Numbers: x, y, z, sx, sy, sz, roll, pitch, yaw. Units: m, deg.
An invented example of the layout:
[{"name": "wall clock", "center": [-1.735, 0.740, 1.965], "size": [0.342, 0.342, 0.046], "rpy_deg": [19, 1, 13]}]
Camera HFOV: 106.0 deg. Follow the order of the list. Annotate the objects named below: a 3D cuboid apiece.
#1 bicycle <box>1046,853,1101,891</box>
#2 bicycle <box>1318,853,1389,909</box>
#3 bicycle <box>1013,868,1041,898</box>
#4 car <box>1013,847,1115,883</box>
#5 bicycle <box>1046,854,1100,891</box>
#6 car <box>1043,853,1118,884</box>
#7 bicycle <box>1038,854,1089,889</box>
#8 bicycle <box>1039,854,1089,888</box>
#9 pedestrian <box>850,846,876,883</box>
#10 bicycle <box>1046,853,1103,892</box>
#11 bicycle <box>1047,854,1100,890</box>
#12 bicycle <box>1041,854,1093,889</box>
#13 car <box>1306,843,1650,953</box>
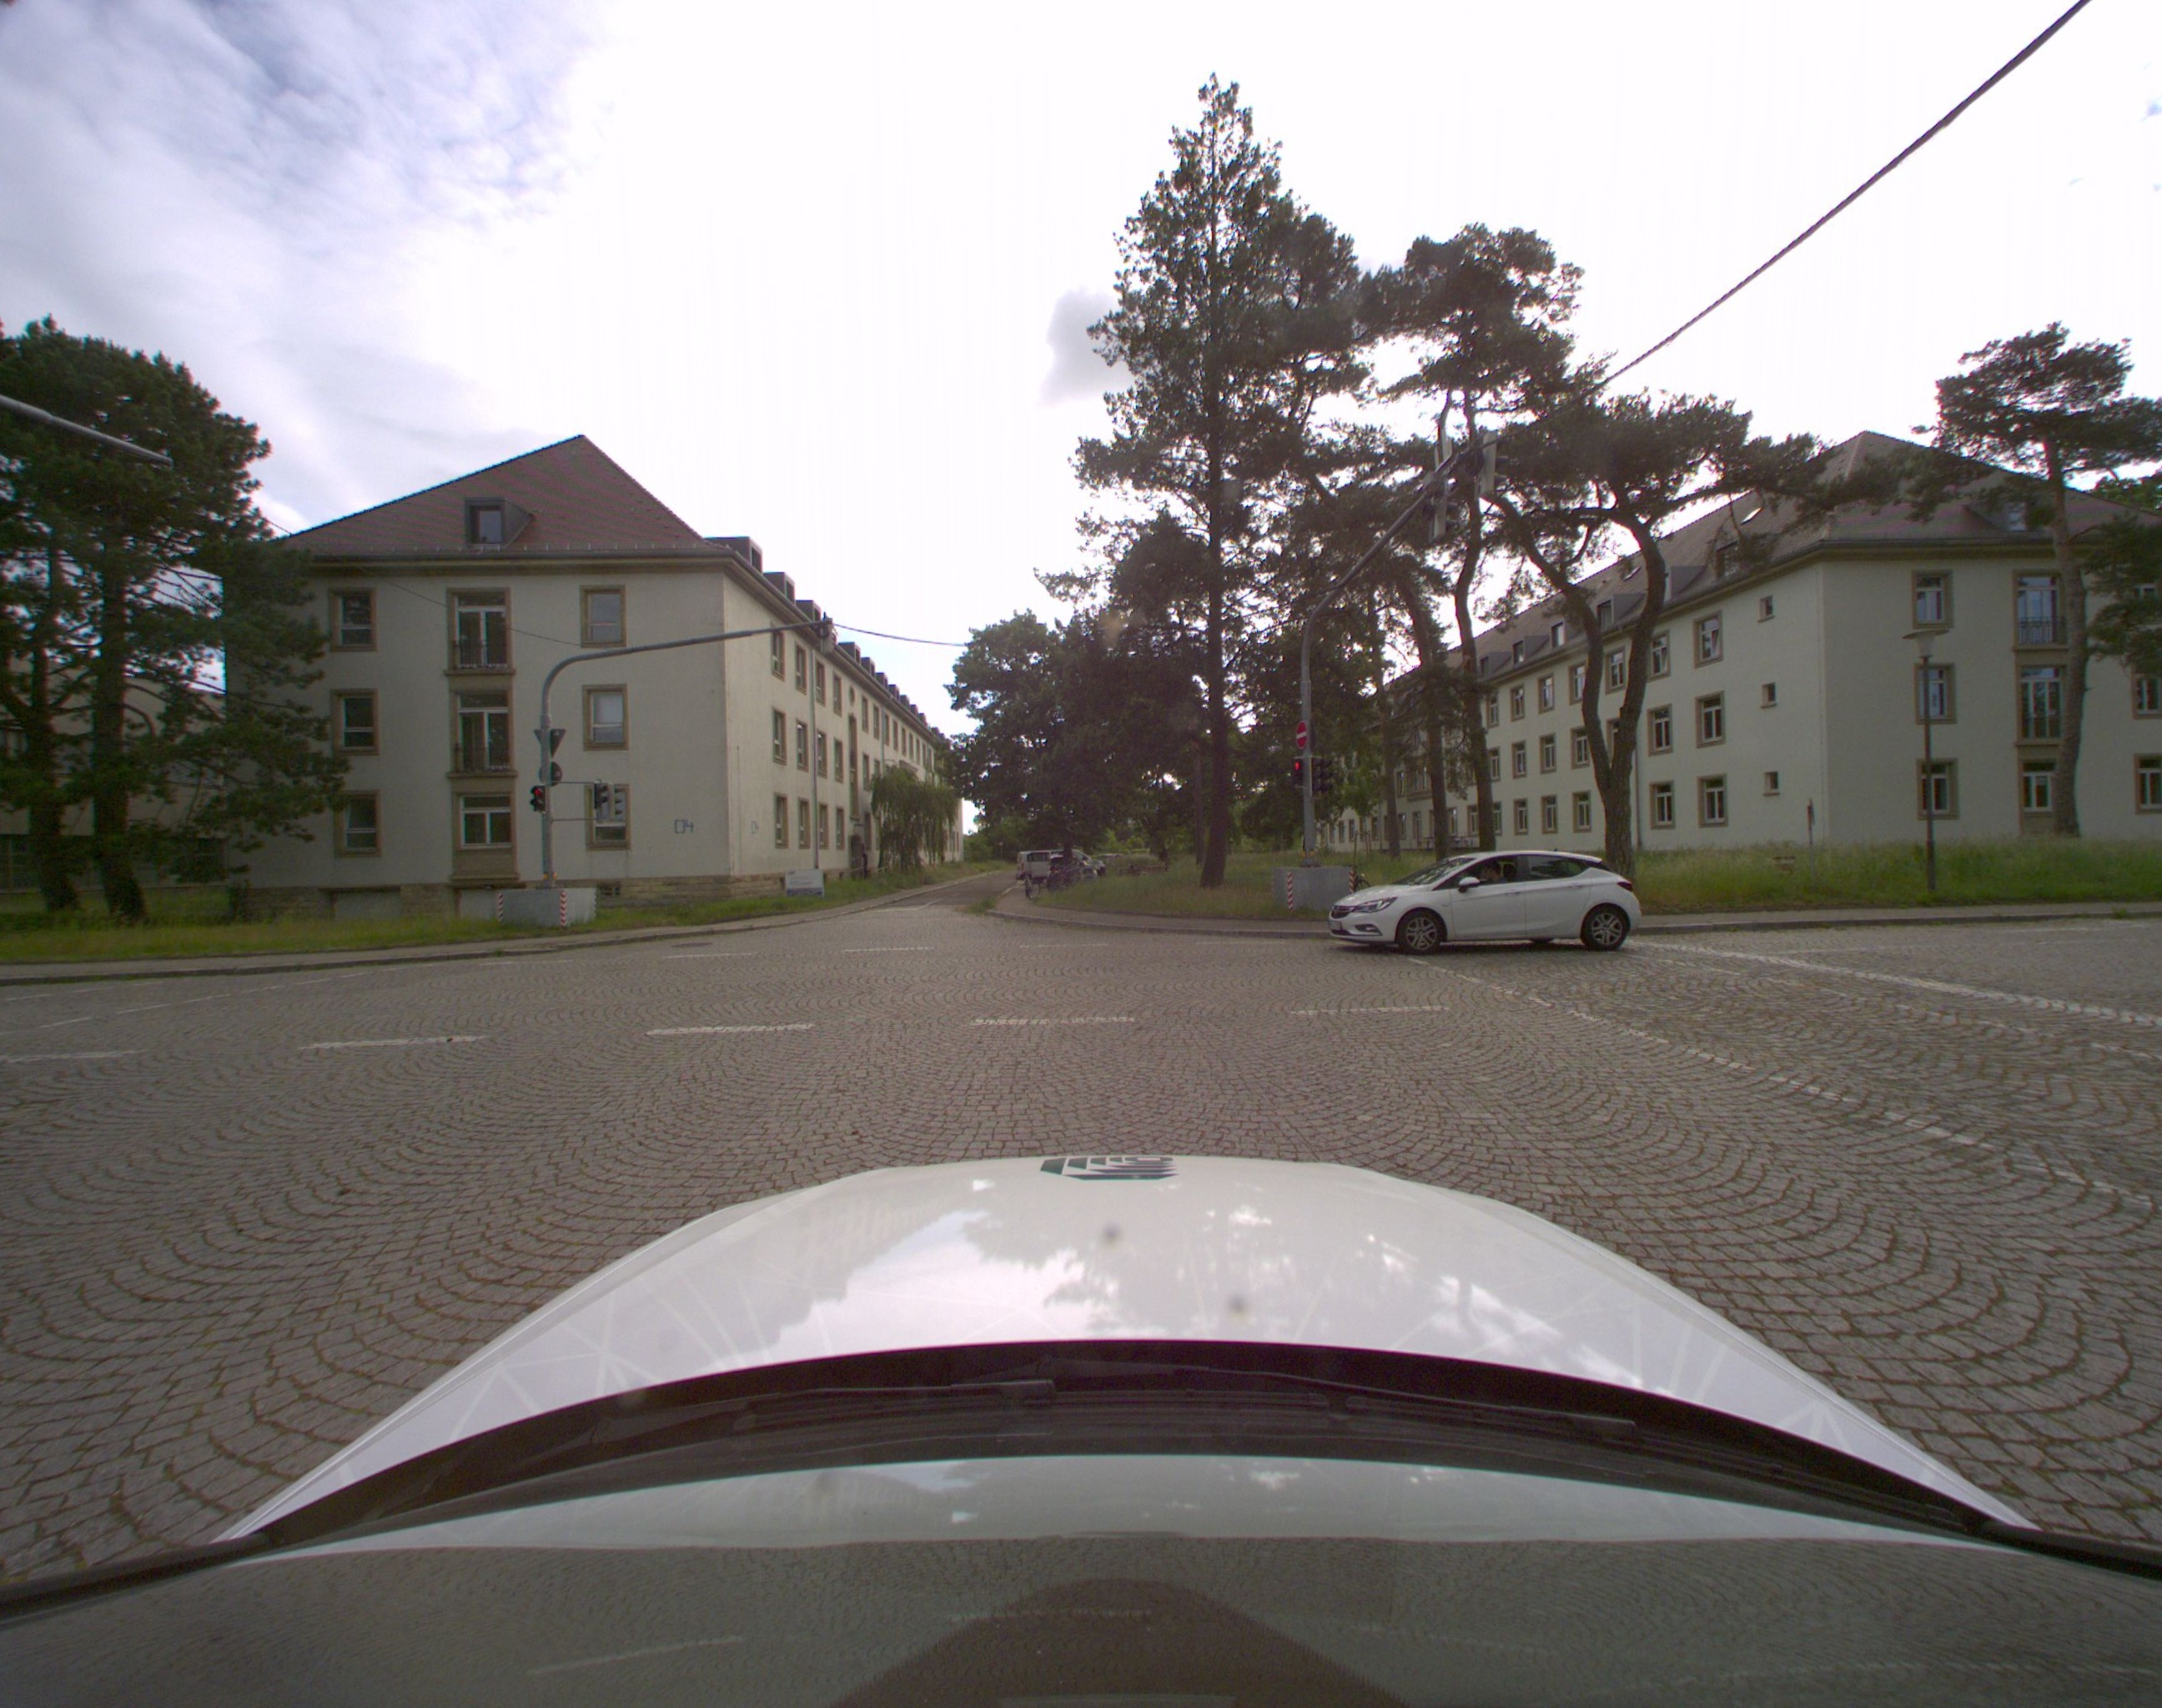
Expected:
[{"name": "bicycle", "center": [-0.286, 0.693, 31.010], "size": [2.063, 1.378, 0.620], "rpy_deg": [-2, 0, -1]}, {"name": "bicycle", "center": [6.064, 0.578, 18.244], "size": [0.906, 1.177, 1.873], "rpy_deg": [-2, 0, -2]}, {"name": "bicycle", "center": [-1.880, 1.005, 28.497], "size": [0.615, 0.963, 2.080], "rpy_deg": [-2, 0, 6]}, {"name": "car", "center": [-1.027, 0.643, 48.208], "size": [5.699, 1.910, 2.220], "rpy_deg": [-2, 0, -14]}, {"name": "bicycle", "center": [-0.301, 0.698, 31.634], "size": [2.063, 1.378, 0.620], "rpy_deg": [-2, 0, -1]}, {"name": "car", "center": [-0.070, 0.763, 44.864], "size": [3.927, 1.544, 1.996], "rpy_deg": [-2, 0, -6]}, {"name": "bicycle", "center": [-0.713, 0.714, 33.956], "size": [2.063, 1.378, 0.620], "rpy_deg": [-2, 0, -1]}, {"name": "bicycle", "center": [-0.713, 0.720, 34.703], "size": [2.063, 1.378, 0.620], "rpy_deg": [-2, 0, -1]}, {"name": "pedestrian", "center": [-12.147, 0.596, 45.417], "size": [1.082, 2.013, 1.023], "rpy_deg": [-2, 0, 4]}, {"name": "bicycle", "center": [-0.230, 0.689, 30.341], "size": [2.063, 1.378, 0.620], "rpy_deg": [-2, 0, -1]}, {"name": "bicycle", "center": [-0.308, 0.704, 32.431], "size": [2.063, 1.378, 0.620], "rpy_deg": [-2, 0, -1]}, {"name": "bicycle", "center": [-0.549, 0.708, 33.223], "size": [2.063, 1.378, 0.620], "rpy_deg": [-2, 0, -1]}, {"name": "car", "center": [5.778, 0.630, 12.230], "size": [4.232, 1.416, 1.886], "rpy_deg": [-1, -2, -2]}]
